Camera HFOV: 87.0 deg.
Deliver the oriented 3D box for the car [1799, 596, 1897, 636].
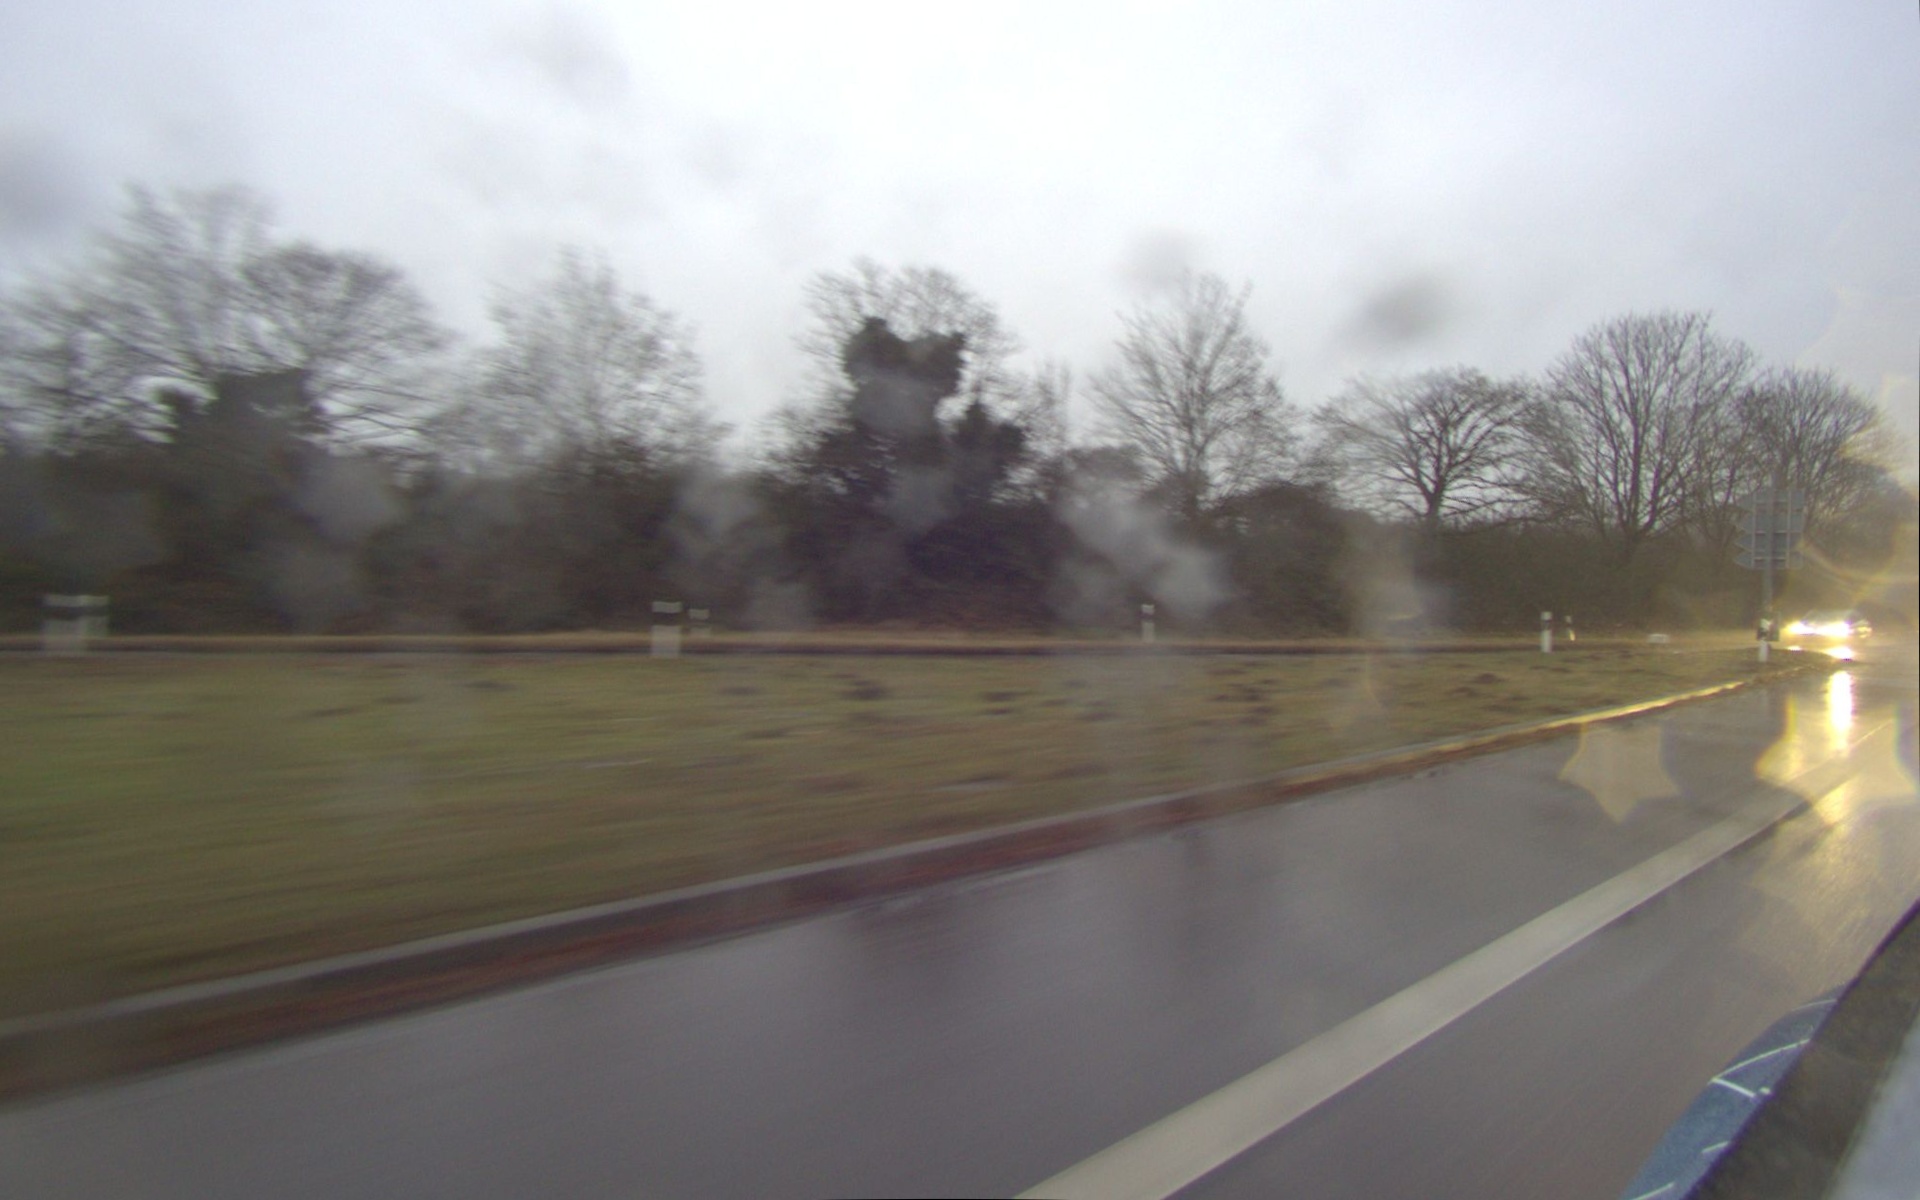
[{"bbox_3d":[34.568,0.580,39.386,3.715,1.452,1.732,0,2,-30],"label":"car"}]
